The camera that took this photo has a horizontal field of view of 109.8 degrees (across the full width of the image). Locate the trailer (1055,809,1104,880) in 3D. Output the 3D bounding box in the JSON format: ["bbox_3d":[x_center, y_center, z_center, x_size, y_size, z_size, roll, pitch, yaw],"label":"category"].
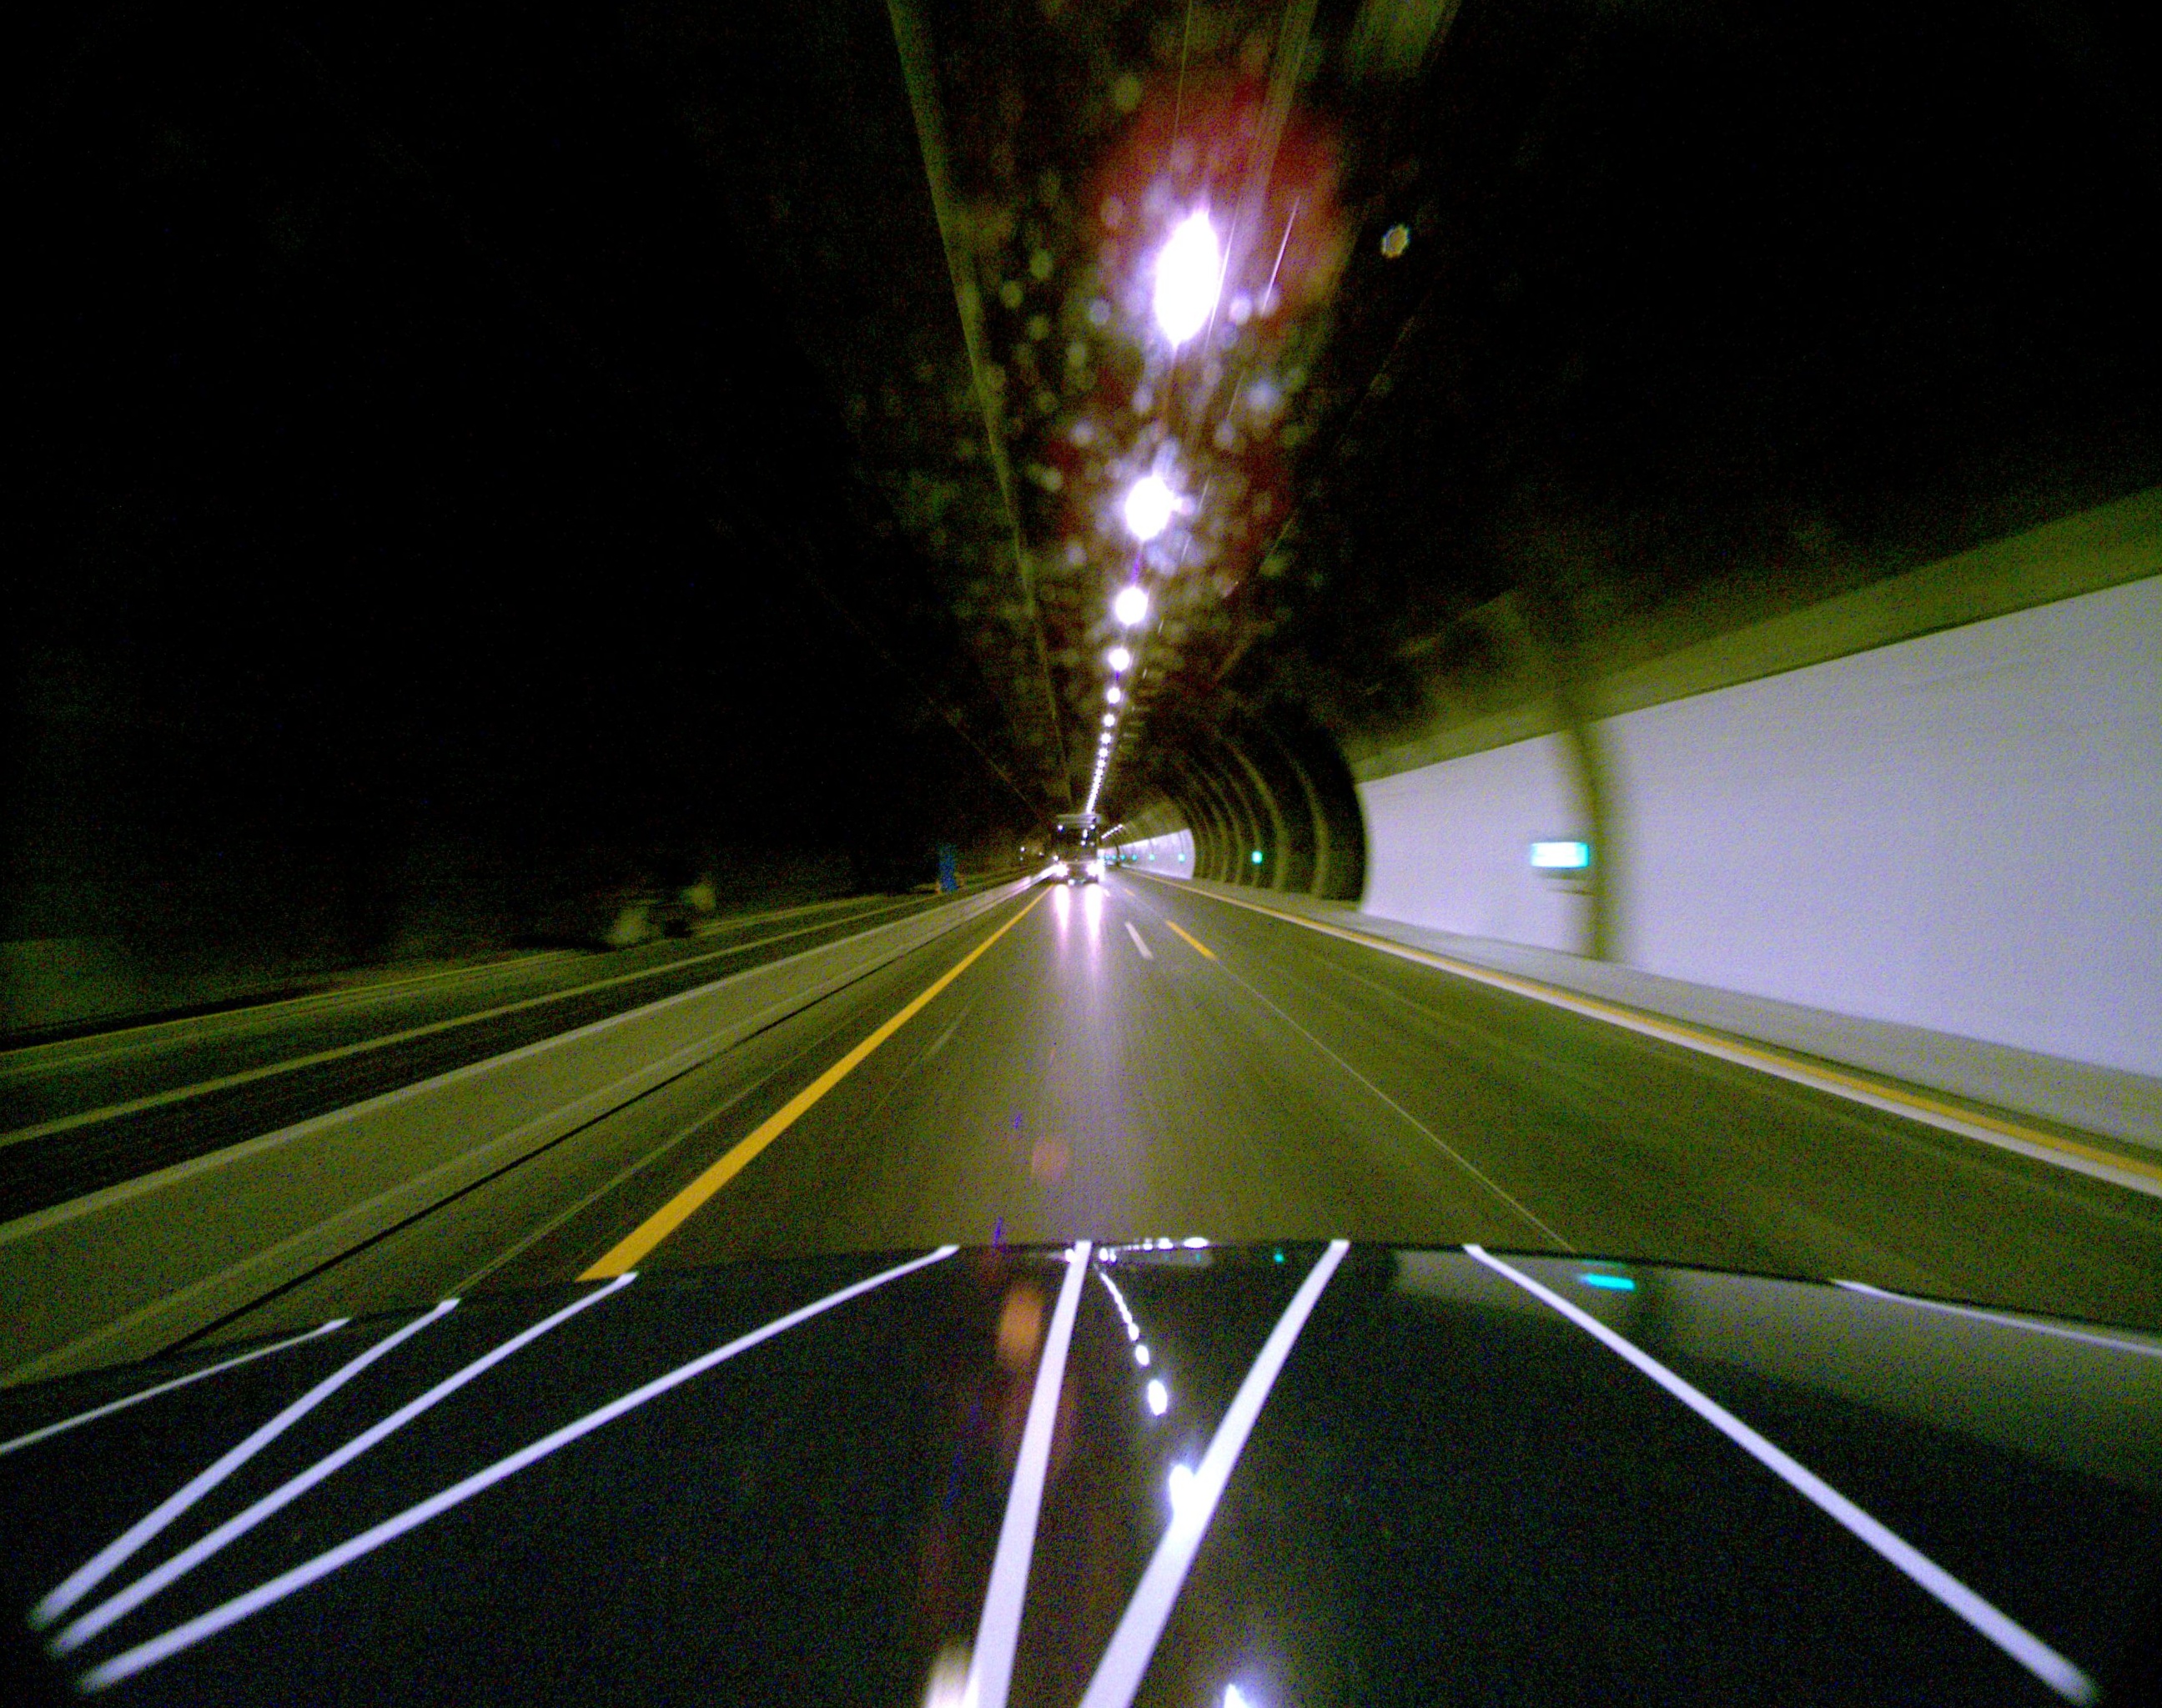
[{"bbox_3d":[-0.245,-0.597,51.913,2.940,4.316,10.049,-1,0,-2],"label":"trailer"}]

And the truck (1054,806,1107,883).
[{"bbox_3d":[-0.107,-0.564,46.887,2.951,4.338,6.674,-1,1,-2],"label":"truck"}]

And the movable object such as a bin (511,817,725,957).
[{"bbox_3d":[-8.966,0.568,15.178,1.761,2.366,3.999,2,1,0],"label":"movable object such as a bin"}]
